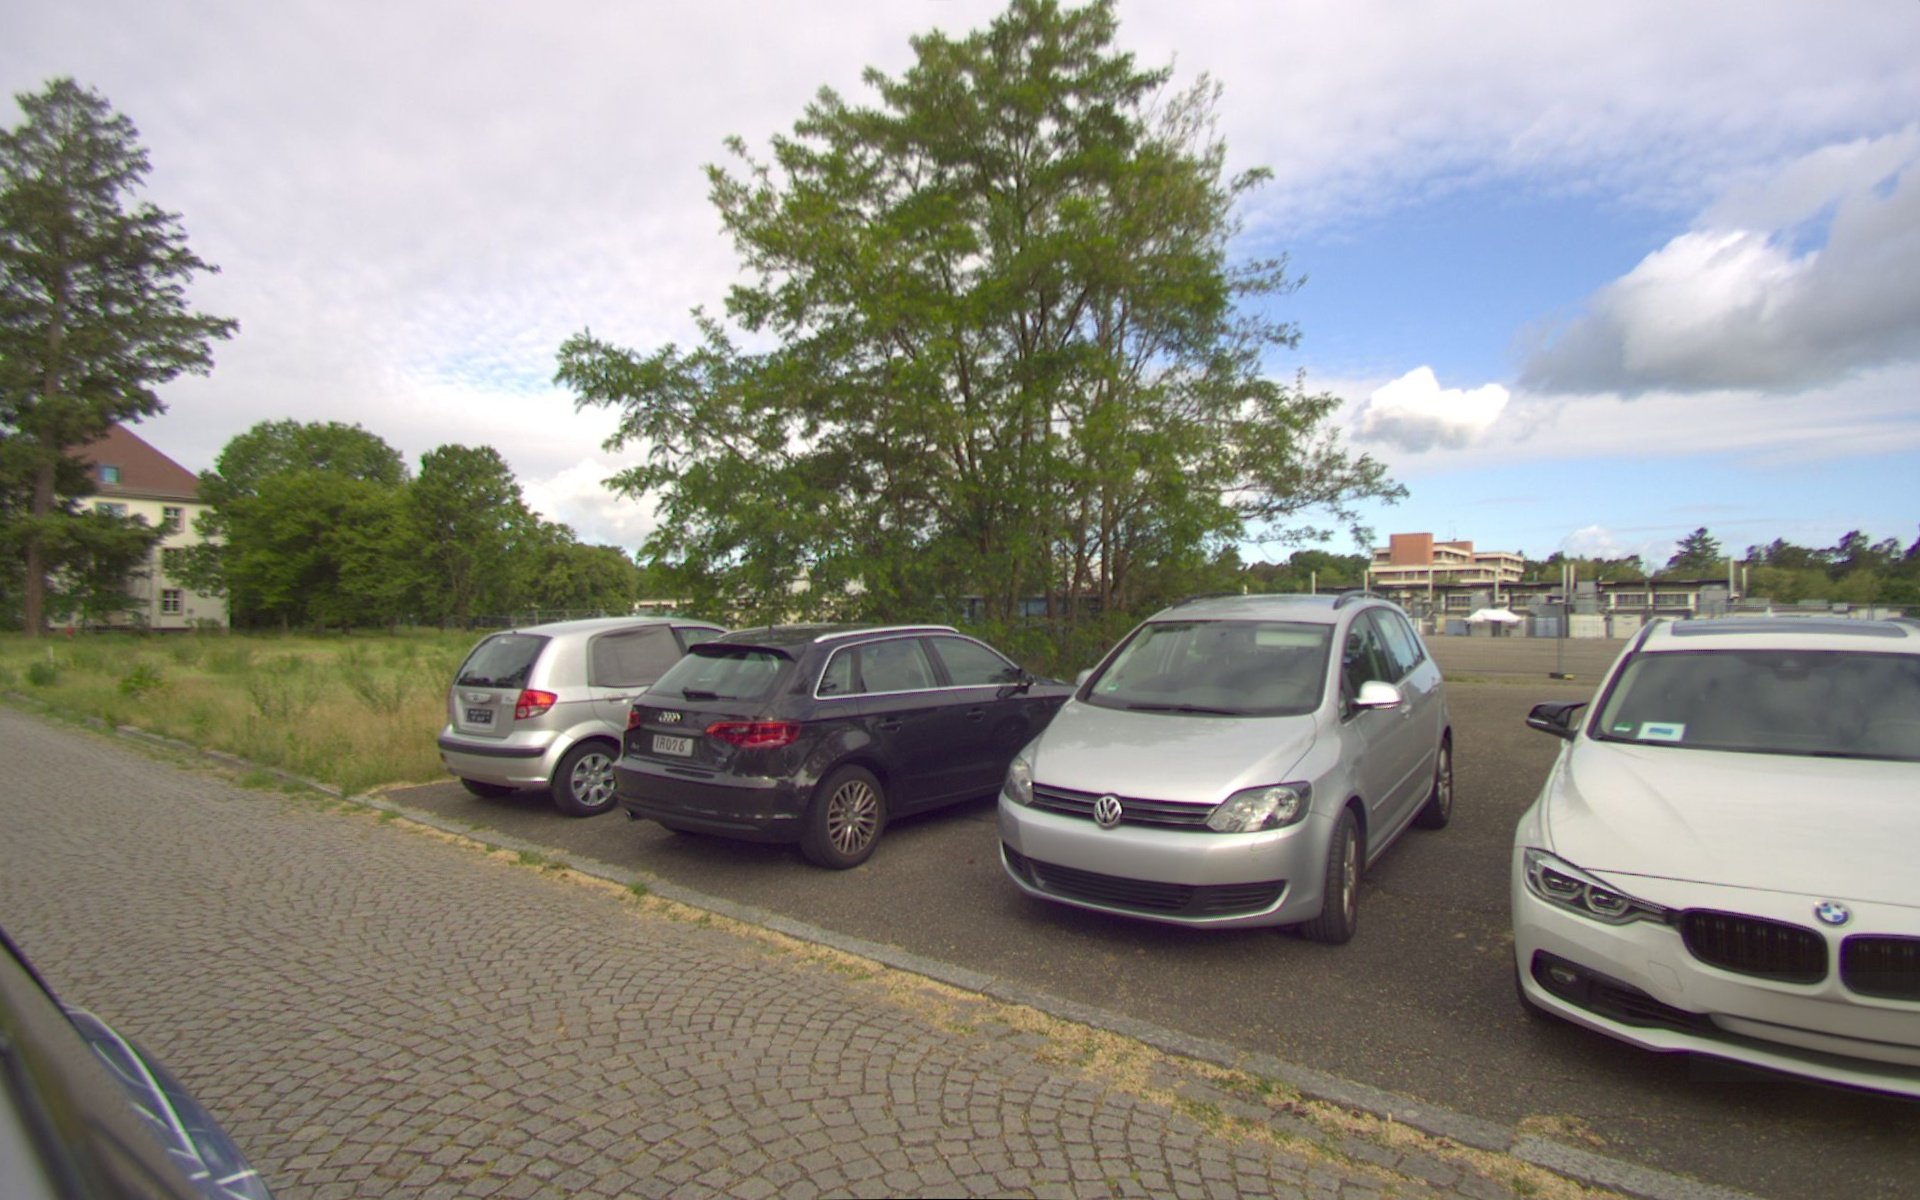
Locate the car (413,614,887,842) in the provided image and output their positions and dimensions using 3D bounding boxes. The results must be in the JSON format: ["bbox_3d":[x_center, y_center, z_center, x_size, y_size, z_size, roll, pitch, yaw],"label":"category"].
[{"bbox_3d":[-2.549,0.936,9.149,1.582,1.481,3.914,-1,0,37],"label":"car"}]

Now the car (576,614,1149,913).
[{"bbox_3d":[-0.388,0.891,7.569,1.720,1.435,4.393,-1,0,38],"label":"car"}]

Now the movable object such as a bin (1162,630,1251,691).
[{"bbox_3d":[4.891,1.180,19.971,0.857,1.134,2.239,-1,-3,38],"label":"movable object such as a bin"}]

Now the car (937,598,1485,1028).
[{"bbox_3d":[1.869,0.817,6.158,1.868,1.610,4.326,-1,0,34],"label":"car"}]

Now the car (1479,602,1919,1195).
[{"bbox_3d":[3.855,0.792,4.560,1.864,1.499,4.694,-2,-1,37],"label":"car"}]
